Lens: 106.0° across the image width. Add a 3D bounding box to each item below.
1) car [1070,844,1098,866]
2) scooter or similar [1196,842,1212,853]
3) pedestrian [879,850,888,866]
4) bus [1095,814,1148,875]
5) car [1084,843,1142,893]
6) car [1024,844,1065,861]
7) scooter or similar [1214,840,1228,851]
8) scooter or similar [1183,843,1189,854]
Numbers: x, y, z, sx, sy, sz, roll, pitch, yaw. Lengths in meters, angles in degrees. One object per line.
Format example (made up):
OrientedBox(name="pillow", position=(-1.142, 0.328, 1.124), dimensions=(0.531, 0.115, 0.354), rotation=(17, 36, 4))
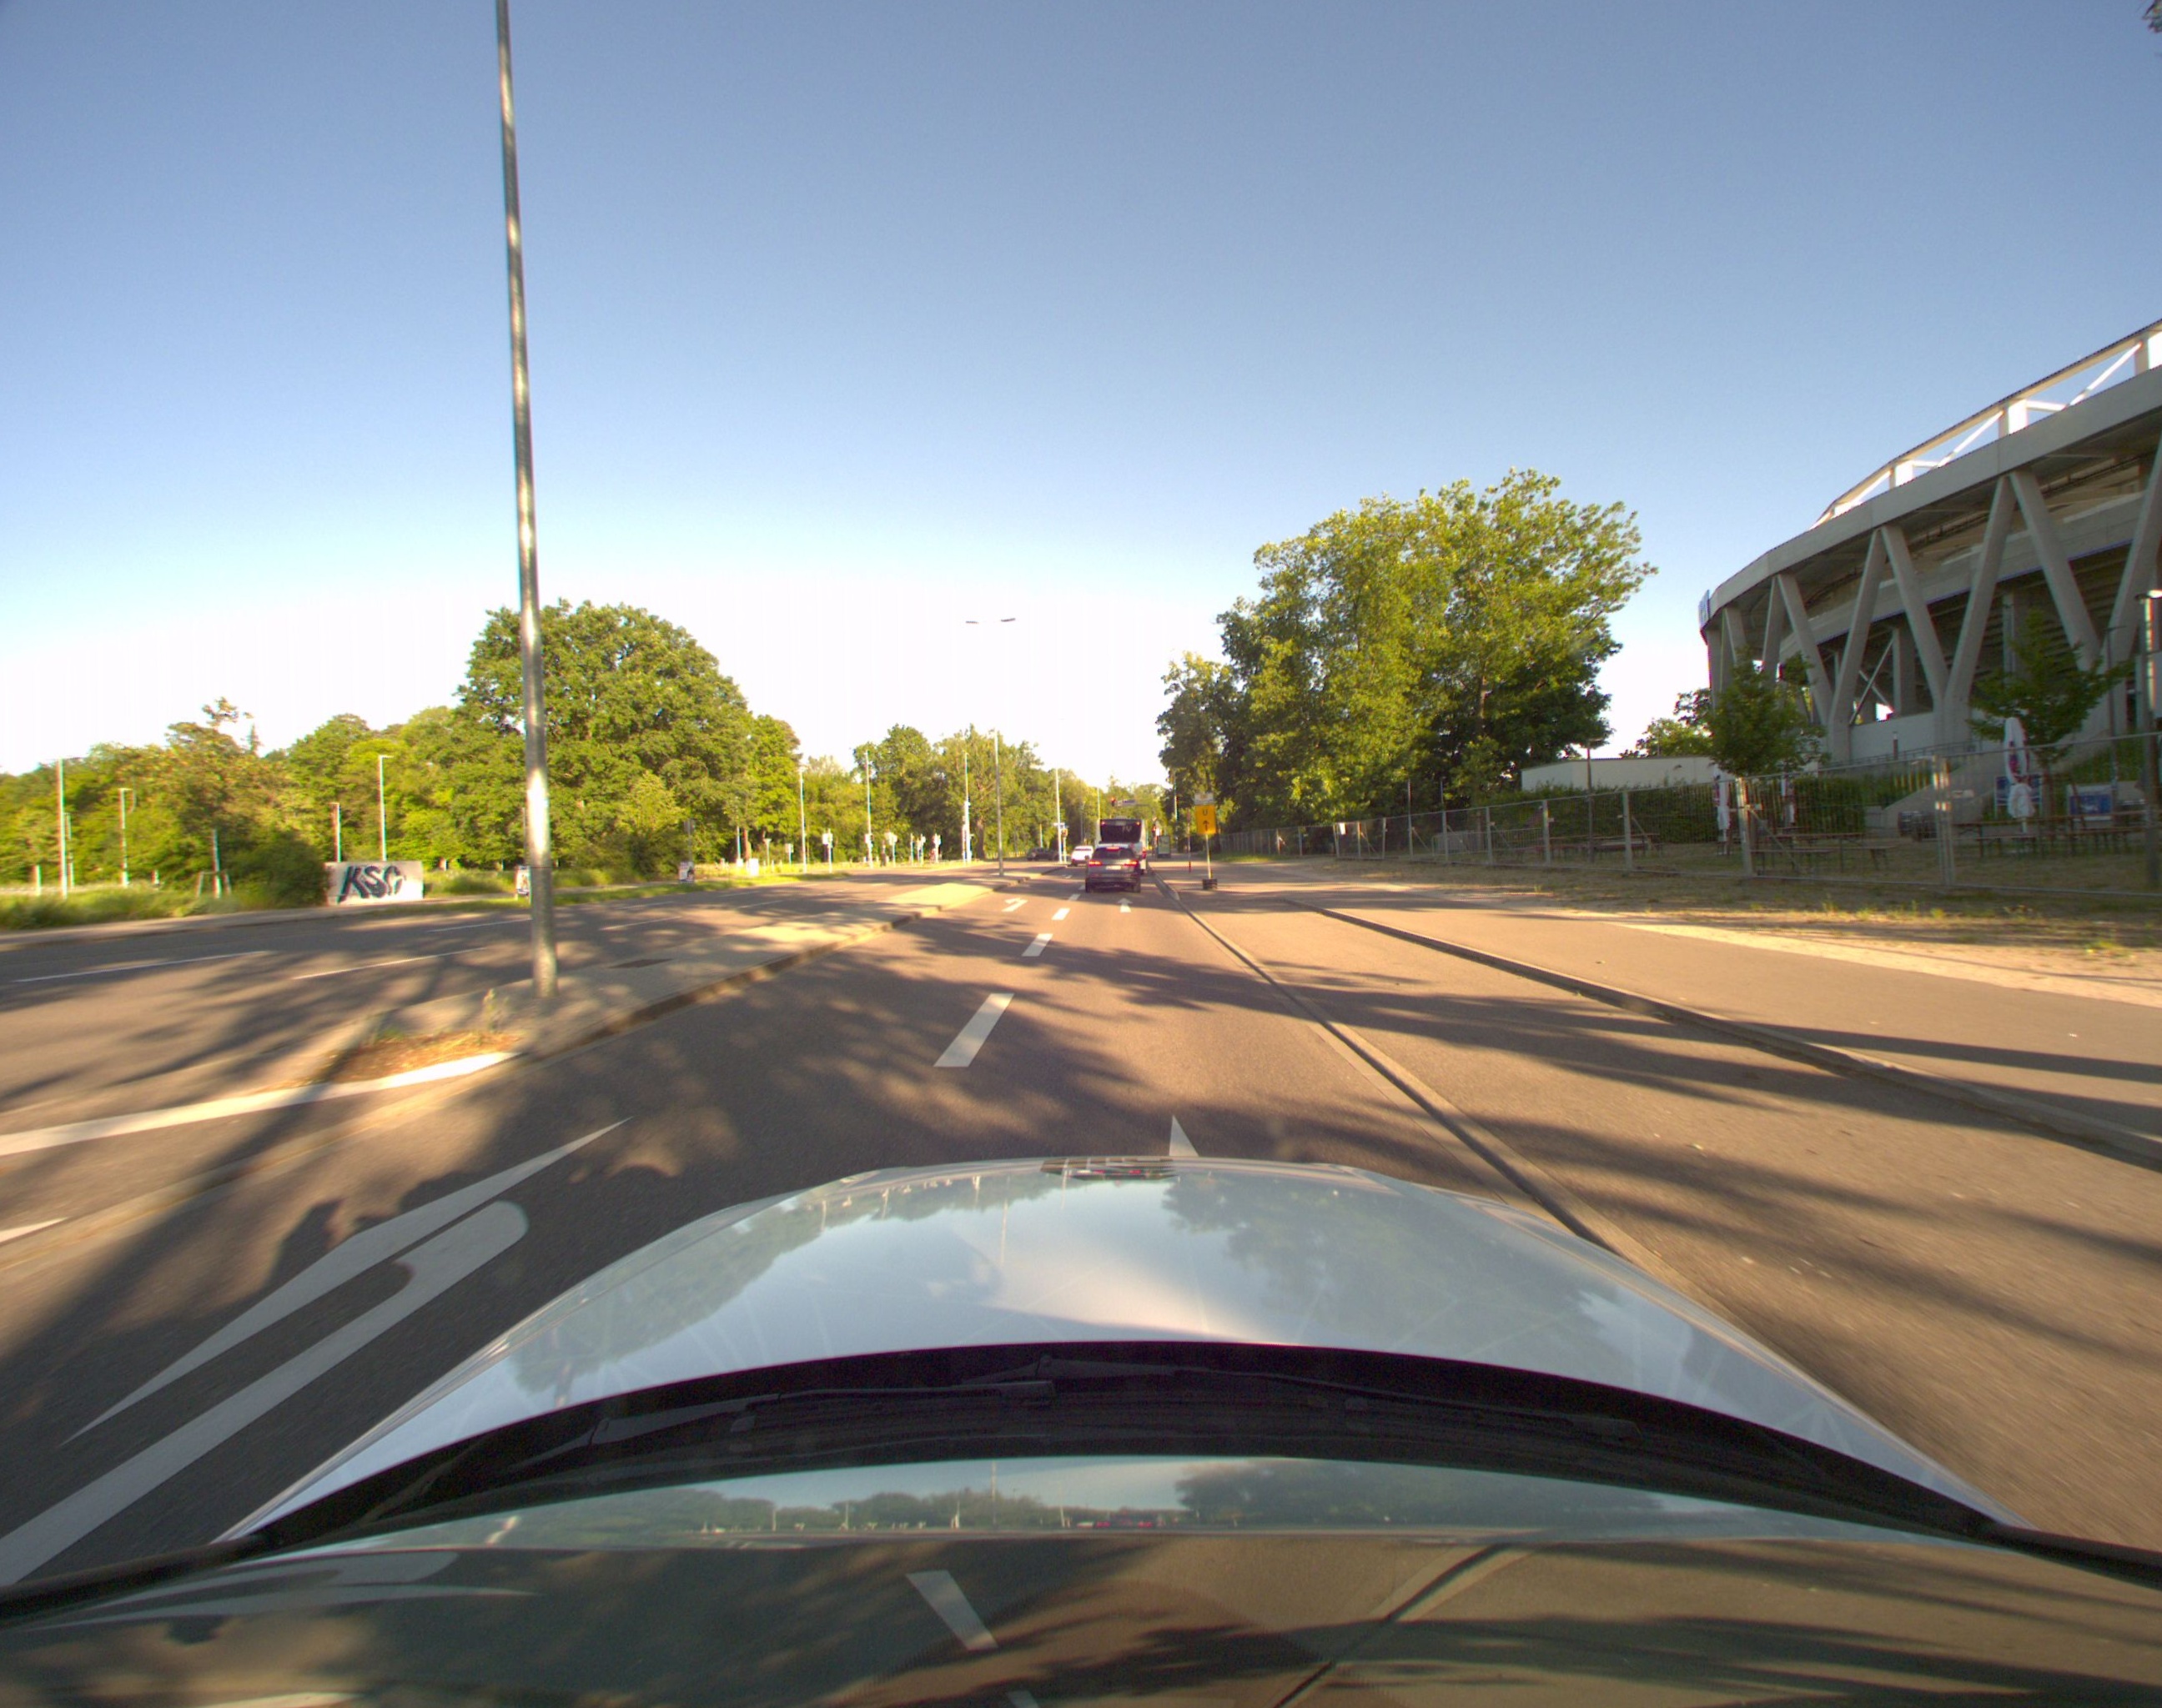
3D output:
OrientedBox(name="car", position=(0.251, 0.050, 61.700), dimensions=(1.828, 1.518, 4.004), rotation=(-2, 1, 3))
OrientedBox(name="scooter or similar", position=(17.363, -0.974, 114.939), dimensions=(2.023, 1.444, 0.601), rotation=(-3, 0, -21))
OrientedBox(name="pedestrian", position=(-19.602, 0.421, 80.769), dimensions=(0.652, 1.560, 0.533), rotation=(-3, 0, -39))
OrientedBox(name="bus", position=(2.300, -0.474, 44.832), dimensions=(2.583, 2.989, 9.335), rotation=(-1, 0, 3))
OrientedBox(name="car", position=(1.158, 0.424, 28.521), dimensions=(1.890, 1.632, 4.004), rotation=(0, 1, 3))
OrientedBox(name="car", position=(-4.038, -0.188, 89.679), dimensions=(4.004, 1.640, 2.050), rotation=(-3, 0, -23))
OrientedBox(name="scooter or similar", position=(19.927, -1.201, 116.053), dimensions=(0.543, 1.567, 2.000), rotation=(-3, 1, -36))
OrientedBox(name="scooter or similar", position=(15.146, -0.781, 117.470), dimensions=(0.506, 1.444, 2.021), rotation=(-3, 1, -2))
